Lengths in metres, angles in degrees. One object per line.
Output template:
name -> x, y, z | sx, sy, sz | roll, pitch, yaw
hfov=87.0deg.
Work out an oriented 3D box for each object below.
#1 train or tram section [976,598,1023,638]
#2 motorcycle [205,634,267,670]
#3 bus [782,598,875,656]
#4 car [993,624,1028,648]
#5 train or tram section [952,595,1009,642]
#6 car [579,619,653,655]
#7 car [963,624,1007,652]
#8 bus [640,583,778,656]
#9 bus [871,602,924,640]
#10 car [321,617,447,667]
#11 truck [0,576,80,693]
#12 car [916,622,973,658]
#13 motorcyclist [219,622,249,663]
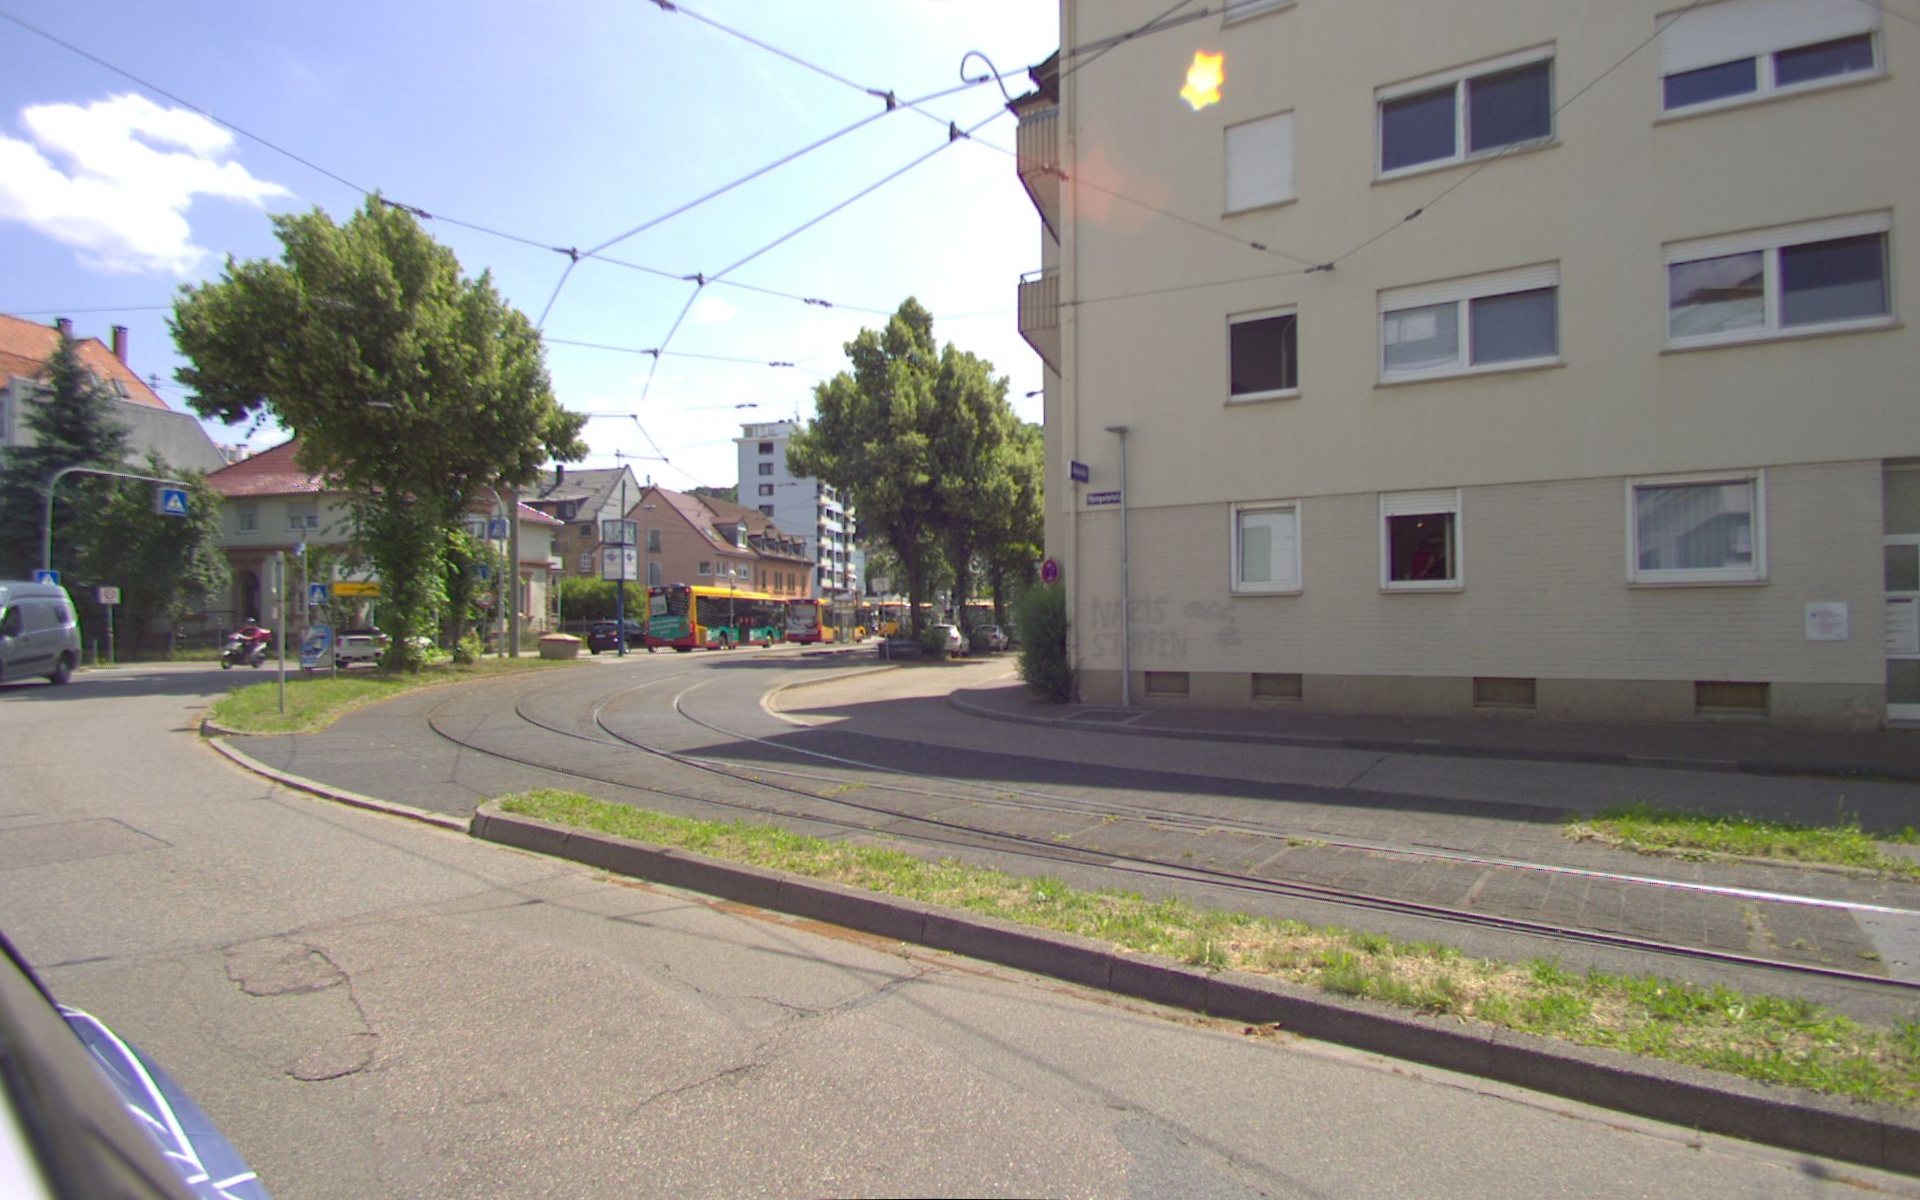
train or tram section -> 3.994, 1.702, 97.846 | 2.866, 3.547, 13.862 | -2, -1, 9
motorcycle -> -22.481, 1.616, 31.457 | 0.665, 1.066, 1.425 | -1, -2, 22
bus -> -8.936, 1.912, 70.557 | 2.669, 3.635, 12.162 | -1, -2, 11
car -> 3.228, 2.271, 64.243 | 1.824, 1.493, 3.861 | -1, -1, 9
train or tram section -> 1.875, 1.509, 84.165 | 2.866, 3.547, 13.862 | -2, -1, 9
car -> -16.668, 1.796, 49.256 | 1.839, 1.644, 4.320 | -1, -2, 6
car -> 1.398, 2.043, 55.196 | 1.824, 1.493, 4.245 | -1, -1, 9
bus -> -12.622, 1.086, 52.316 | 2.679, 3.322, 10.821 | -2, -2, 11
bus -> -5.510, 1.944, 91.306 | 2.547, 3.213, 10.125 | -1, -2, 9
car -> -18.313, 1.303, 32.355 | 1.755, 1.475, 3.744 | 1, -1, 3
truck -> -20.016, 0.696, 20.332 | 1.986, 2.266, 5.425 | -1, 0, -24
car -> -0.618, 1.731, 44.540 | 1.824, 1.493, 3.944 | -1, -1, 9
motorcyclist -> -22.501, 1.321, 31.375 | 0.537, 1.252, 0.551 | -1, -2, 22
